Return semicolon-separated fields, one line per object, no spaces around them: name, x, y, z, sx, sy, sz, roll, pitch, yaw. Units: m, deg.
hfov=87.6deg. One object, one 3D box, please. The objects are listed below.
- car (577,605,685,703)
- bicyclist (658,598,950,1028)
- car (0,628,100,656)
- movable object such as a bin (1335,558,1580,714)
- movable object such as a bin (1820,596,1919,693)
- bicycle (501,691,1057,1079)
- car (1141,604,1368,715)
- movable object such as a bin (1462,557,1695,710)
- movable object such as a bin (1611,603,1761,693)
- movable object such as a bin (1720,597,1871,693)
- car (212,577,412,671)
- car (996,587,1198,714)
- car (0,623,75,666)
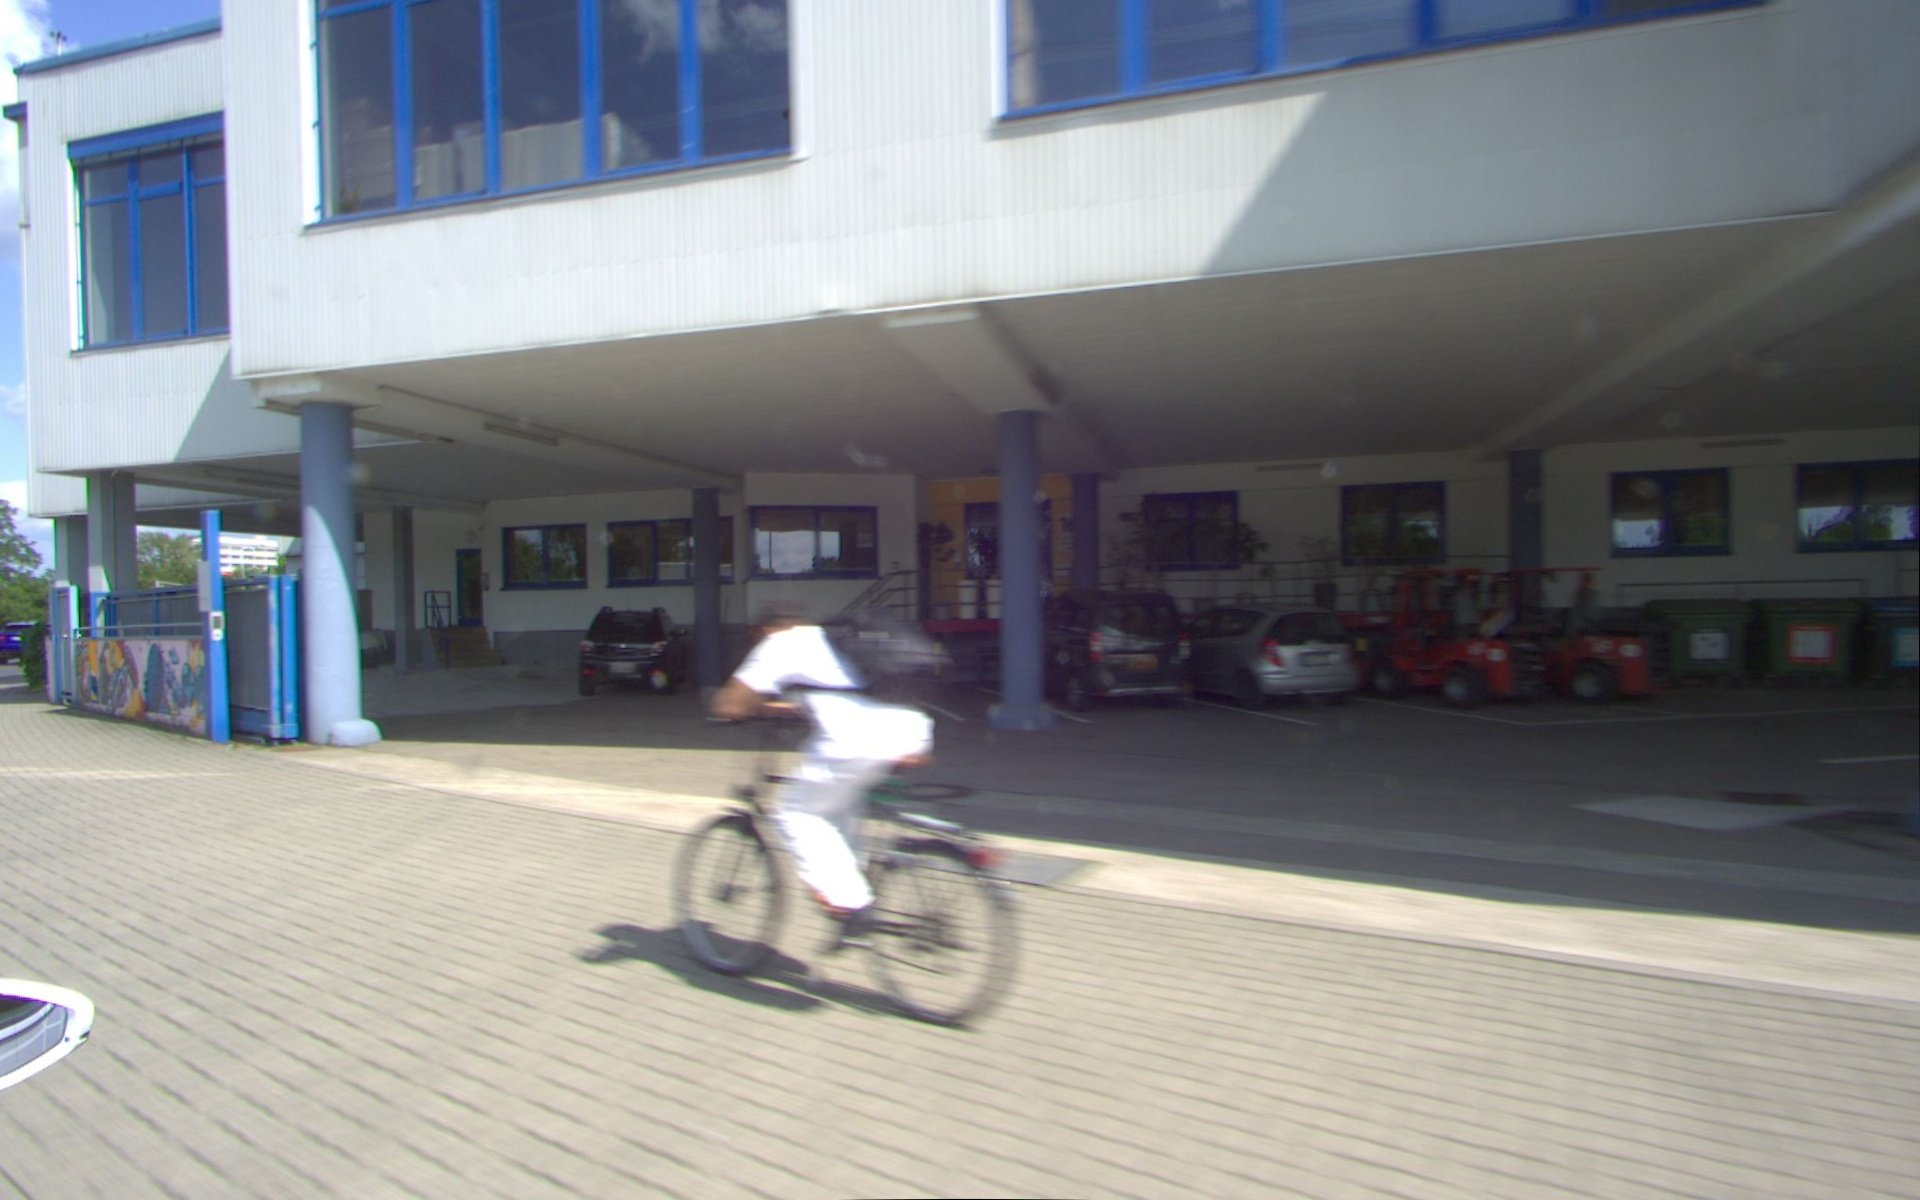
car;-6.497;0.996;20.085;1.640;1.681;3.658;0;1;-11
bicyclist;-0.573;0.715;3.789;0.845;1.416;0.663;-1;0;26
car;-55.558;2.533;60.776;1.718;1.590;4.870;-2;-2;33
movable object such as a bin;7.489;0.548;15.423;1.409;2.112;3.430;0;-1;-17
movable object such as a bin;14.907;0.694;15.997;1.268;1.487;1.338;-1;0;12
bicycle;-0.750;0.954;3.883;2.133;1.123;0.666;-1;0;26
car;4.581;0.900;16.150;1.810;1.566;3.657;0;-2;-17
movable object such as a bin;9.371;0.506;15.400;1.295;2.112;2.912;0;-1;-17
movable object such as a bin;12.050;0.781;16.705;1.544;1.423;1.468;-1;0;12
movable object such as a bin;13.546;0.713;16.309;1.412;1.487;1.338;-1;0;12
car;-15.379;0.638;23.862;3.691;2.038;1.981;3;-5;-45
car;2.081;0.775;16.448;1.728;1.804;4.098;0;-1;-17
car;-37.366;1.807;40.469;1.891;1.613;4.671;0;-2;-35
